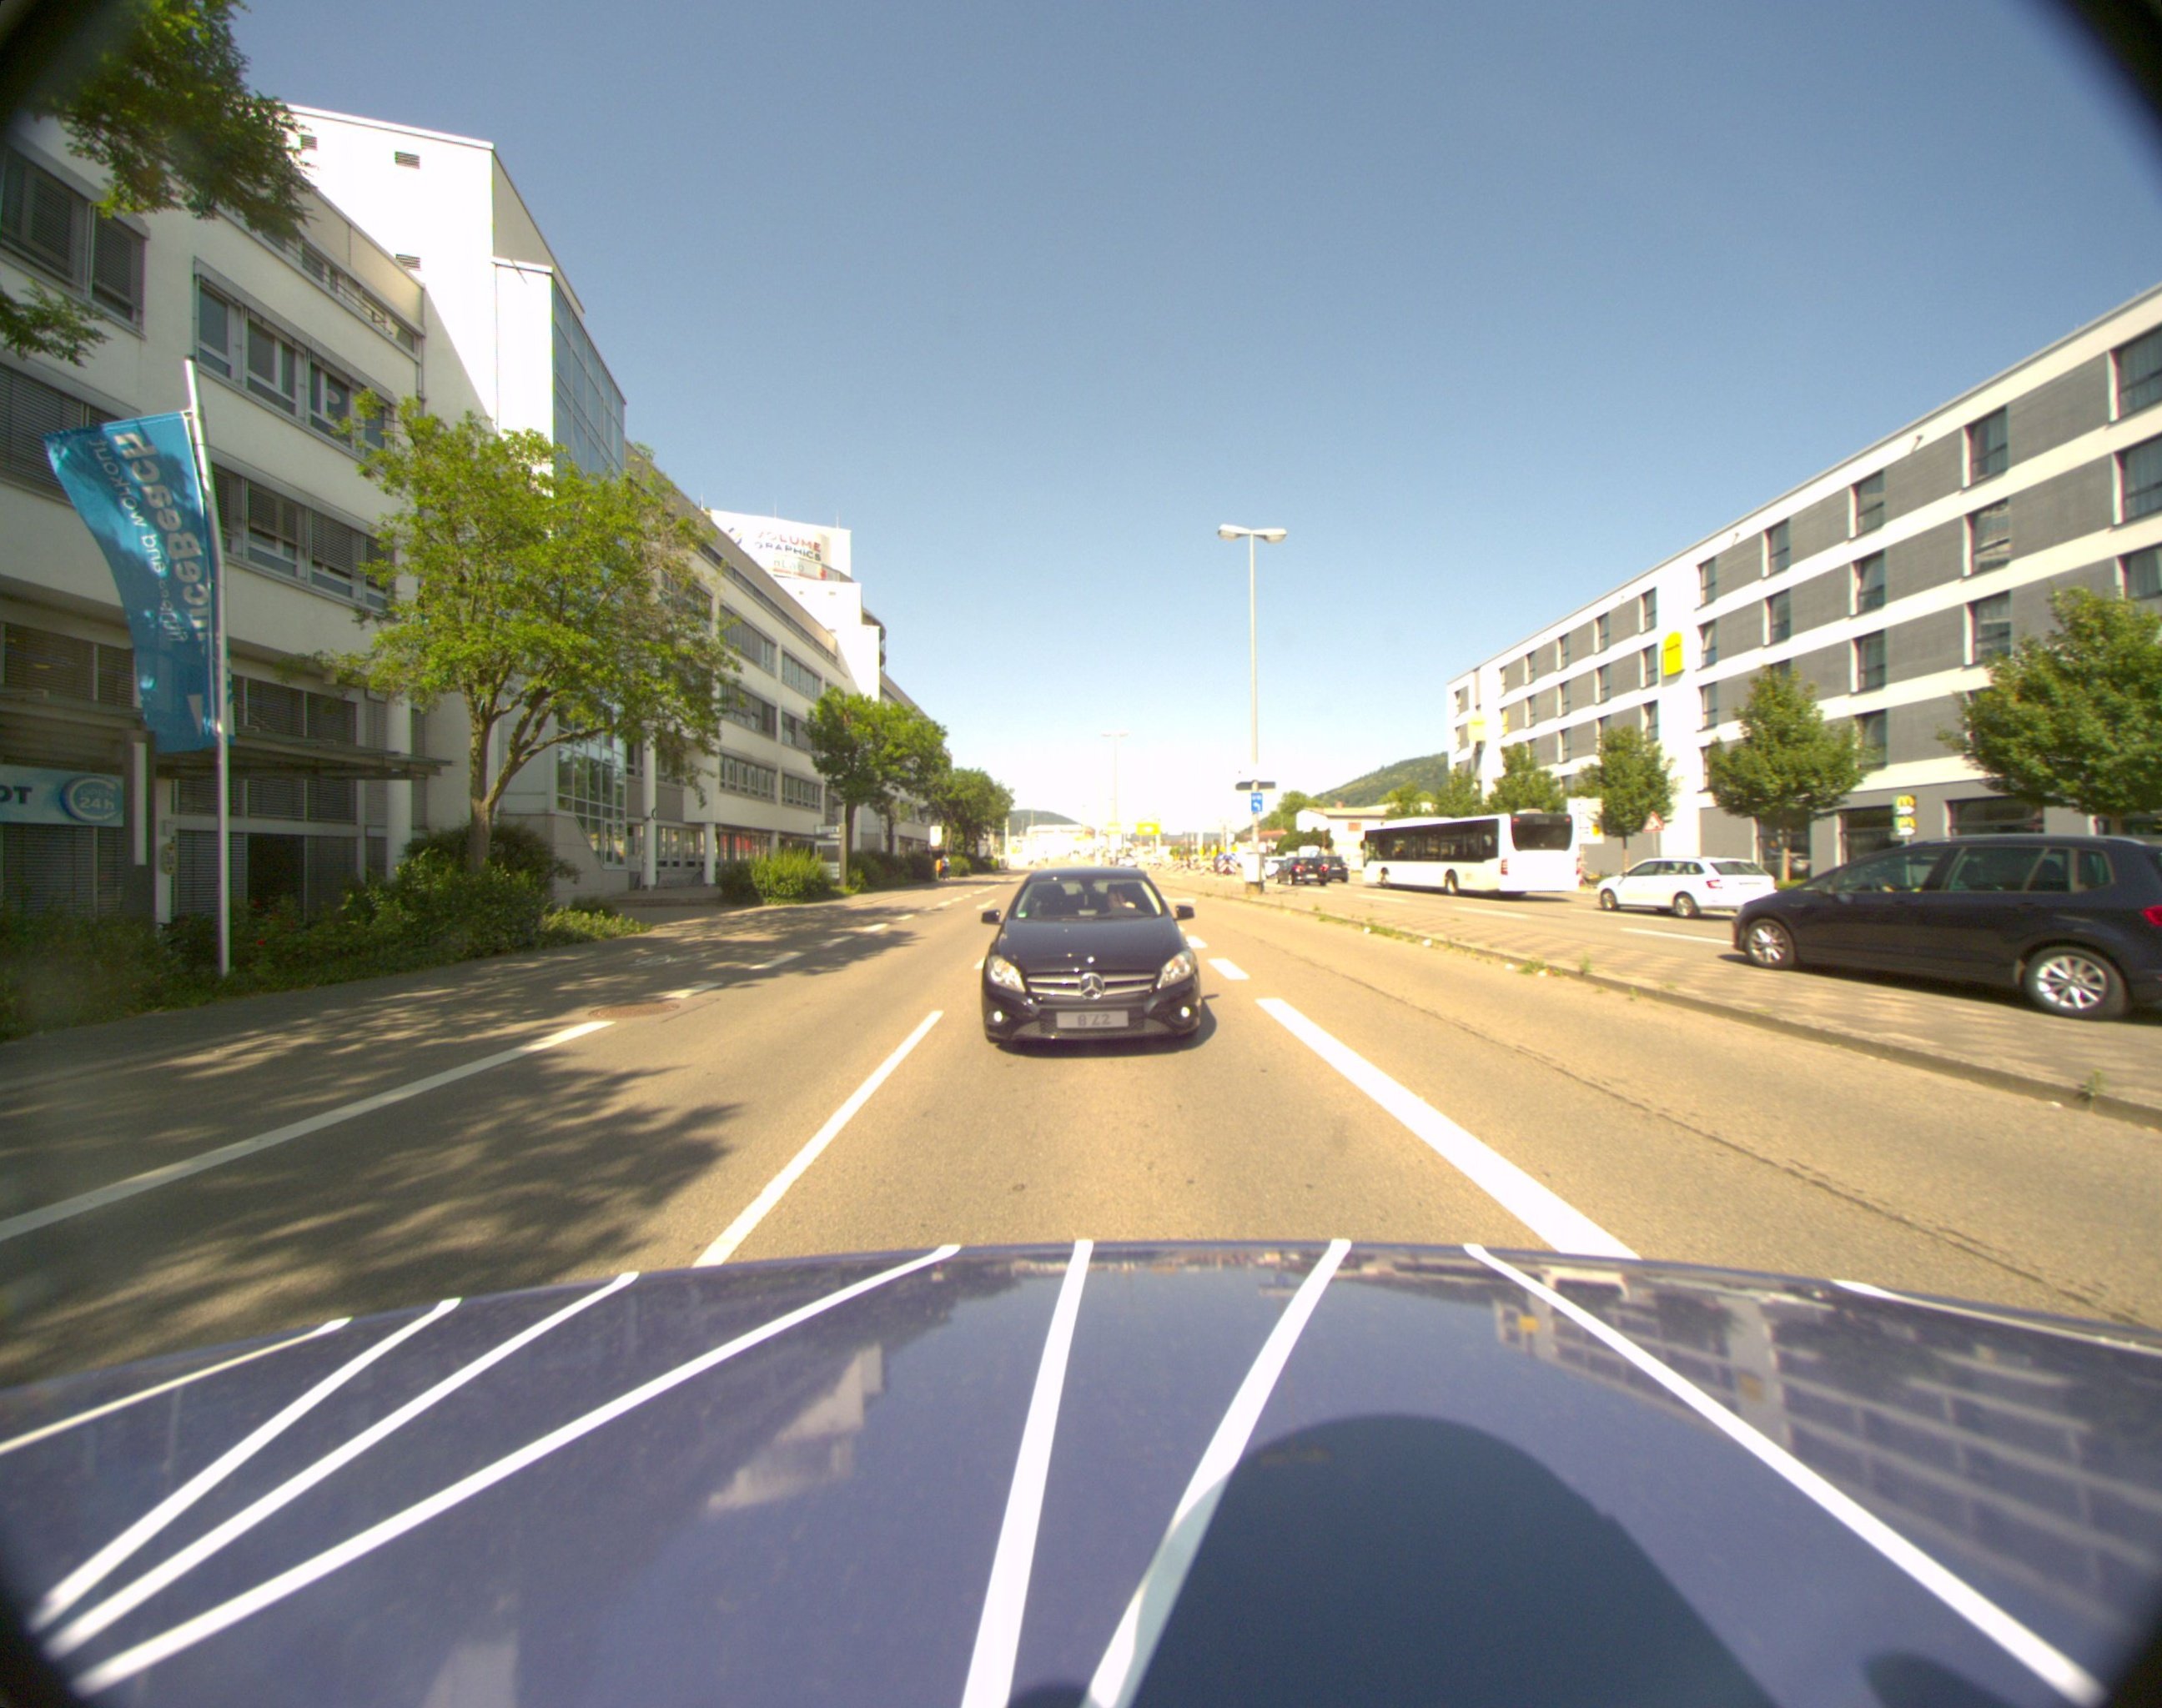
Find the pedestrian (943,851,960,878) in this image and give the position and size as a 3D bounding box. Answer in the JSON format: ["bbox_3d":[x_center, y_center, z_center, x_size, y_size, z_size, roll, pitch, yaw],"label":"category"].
[{"bbox_3d":[-9.183,0.756,53.915,0.942,1.875,1.289,2,1,0],"label":"pedestrian"}]

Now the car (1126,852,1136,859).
[{"bbox_3d":[11.562,0.358,174.718,1.815,1.328,3.937,-3,0,-3],"label":"car"}]

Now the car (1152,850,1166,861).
[{"bbox_3d":[13.079,0.232,127.601,1.998,1.702,4.892,-1,-1,1],"label":"car"}]

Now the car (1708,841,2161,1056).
[{"bbox_3d":[8.980,0.698,7.617,1.890,1.608,4.133,-1,0,-2],"label":"car"}]

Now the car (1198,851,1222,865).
[{"bbox_3d":[14.902,0.472,87.827,1.998,1.514,4.891,-1,0,1],"label":"car"}]

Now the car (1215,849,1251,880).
[{"bbox_3d":[10.735,0.701,53.774,1.679,2.002,4.164,-2,1,1],"label":"car"}]

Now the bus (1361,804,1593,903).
[{"bbox_3d":[14.669,-0.047,29.913,2.745,3.061,11.974,1,0,0],"label":"bus"}]

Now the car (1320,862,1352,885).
[{"bbox_3d":[14.422,1.081,43.017,1.058,1.200,2.220,-2,1,2],"label":"car"}]

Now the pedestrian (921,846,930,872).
[{"bbox_3d":[-15.133,0.467,74.081,0.717,2.534,0.716,-1,1,-1],"label":"pedestrian"}]

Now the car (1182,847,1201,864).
[{"bbox_3d":[14.038,0.186,96.843,1.998,2.002,4.000,-2,1,3],"label":"car"}]

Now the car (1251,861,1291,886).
[{"bbox_3d":[12.743,1.290,51.139,1.763,1.443,4.000,-2,1,2],"label":"car"}]

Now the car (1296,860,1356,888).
[{"bbox_3d":[14.403,1.138,44.971,1.998,1.514,4.891,-1,0,1],"label":"car"}]

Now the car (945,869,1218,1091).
[{"bbox_3d":[0.030,0.935,7.695,1.905,1.431,4.693,-1,0,1],"label":"car"}]

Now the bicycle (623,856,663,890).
[{"bbox_3d":[-18.056,0.767,31.344,0.506,1.346,1.884,-1,0,1],"label":"bicycle"}]

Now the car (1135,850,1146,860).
[{"bbox_3d":[12.391,0.193,157.681,1.999,2.002,3.999,0,0,-1],"label":"car"}]

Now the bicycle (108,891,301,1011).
[{"bbox_3d":[-11.275,1.187,9.883,0.506,1.321,1.883,0,0,-8],"label":"bicycle"}]

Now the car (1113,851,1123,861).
[{"bbox_3d":[7.908,0.468,162.434,1.998,2.002,3.999,-2,1,1],"label":"car"}]

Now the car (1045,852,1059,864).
[{"bbox_3d":[-4.966,0.696,132.086,1.998,2.002,4.000,-2,1,2],"label":"car"}]

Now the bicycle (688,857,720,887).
[{"bbox_3d":[-17.715,0.814,35.742,0.506,1.346,1.884,-1,0,1],"label":"bicycle"}]

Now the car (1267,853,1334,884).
[{"bbox_3d":[11.155,0.696,38.981,1.998,1.424,4.890,-1,0,0],"label":"car"}]

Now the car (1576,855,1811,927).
[{"bbox_3d":[14.911,0.821,18.904,1.999,1.477,4.410,2,1,-5],"label":"car"}]
